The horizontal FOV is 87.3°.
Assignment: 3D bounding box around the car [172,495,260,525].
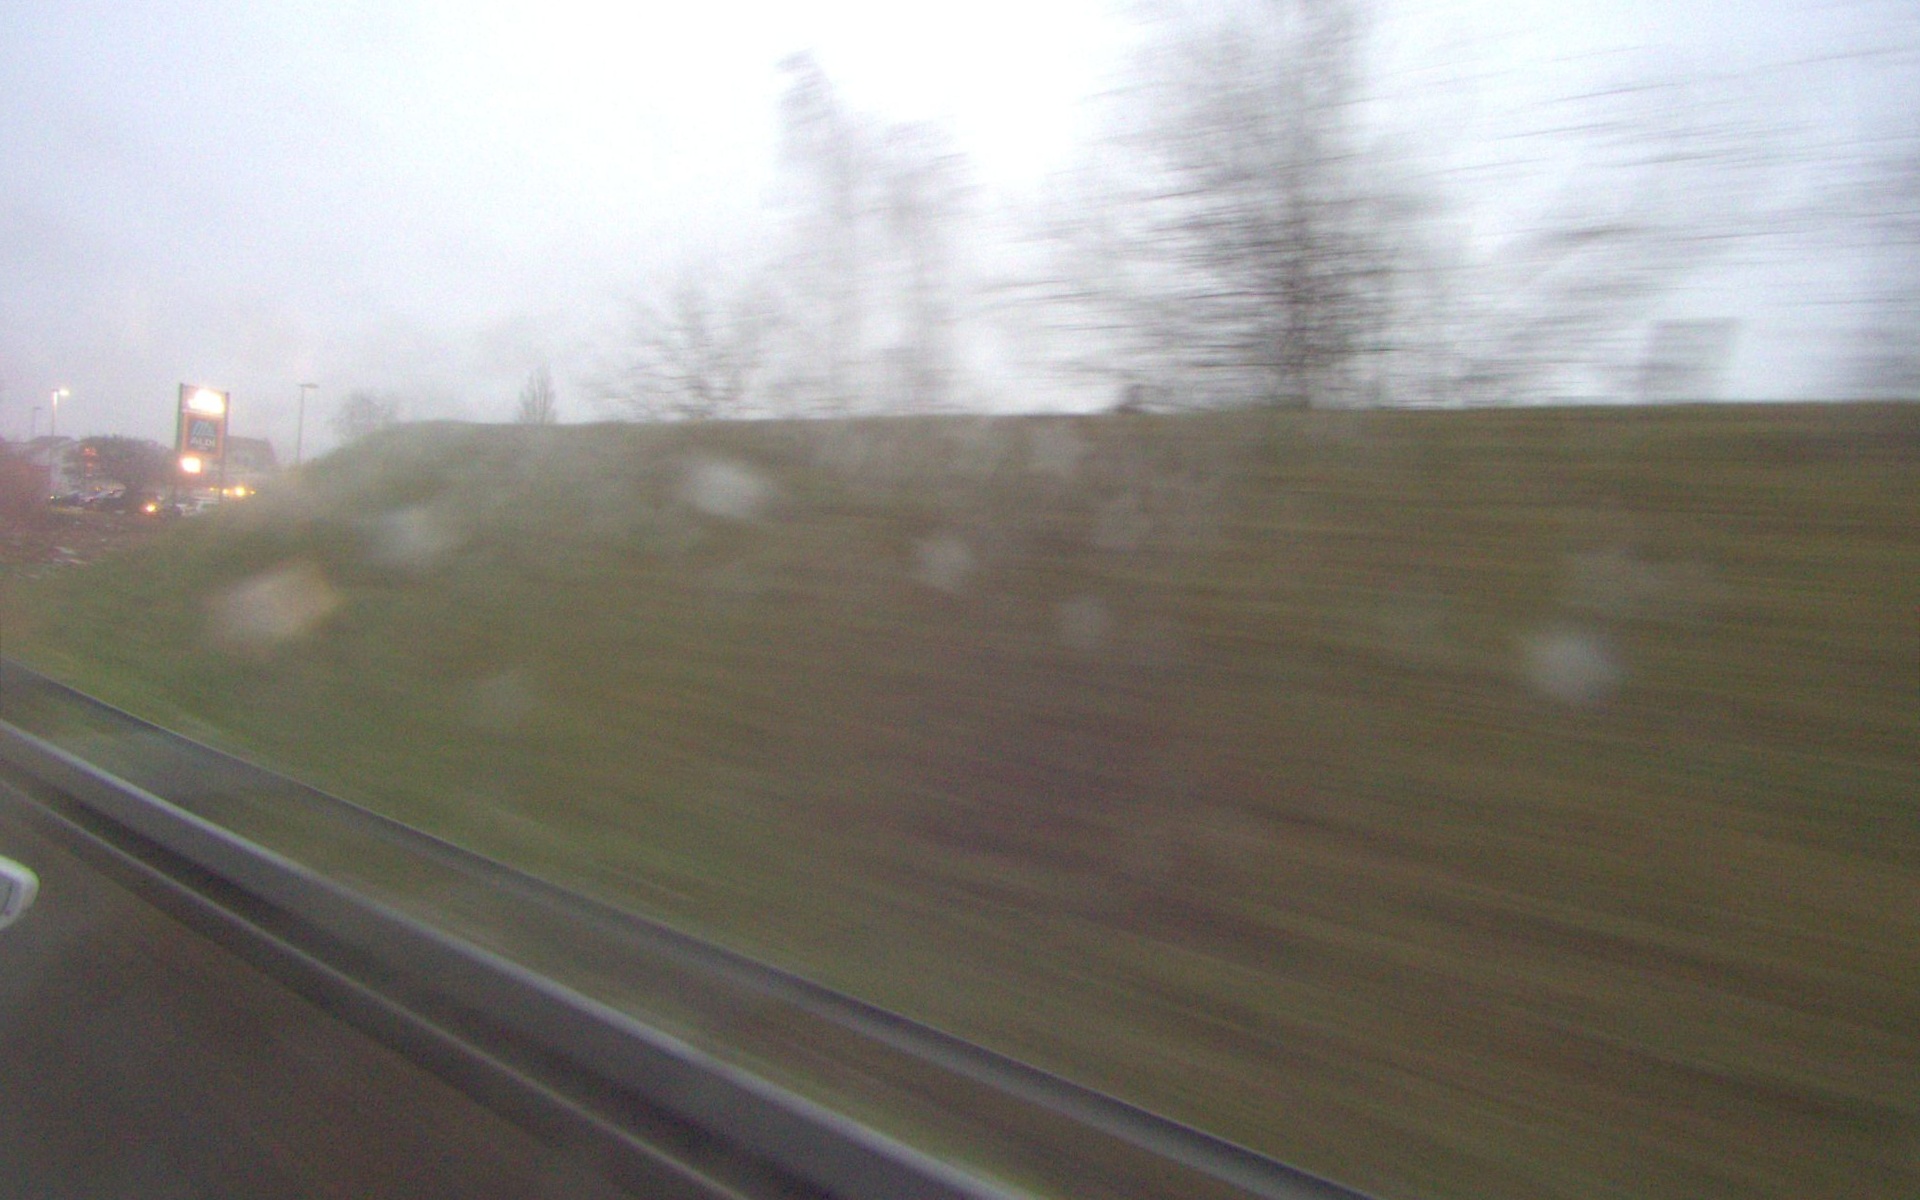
[{"bbox_3d":[-46.528,-5.590,62.996,1.634,1.442,4.126,7,3,30],"label":"car"}]
